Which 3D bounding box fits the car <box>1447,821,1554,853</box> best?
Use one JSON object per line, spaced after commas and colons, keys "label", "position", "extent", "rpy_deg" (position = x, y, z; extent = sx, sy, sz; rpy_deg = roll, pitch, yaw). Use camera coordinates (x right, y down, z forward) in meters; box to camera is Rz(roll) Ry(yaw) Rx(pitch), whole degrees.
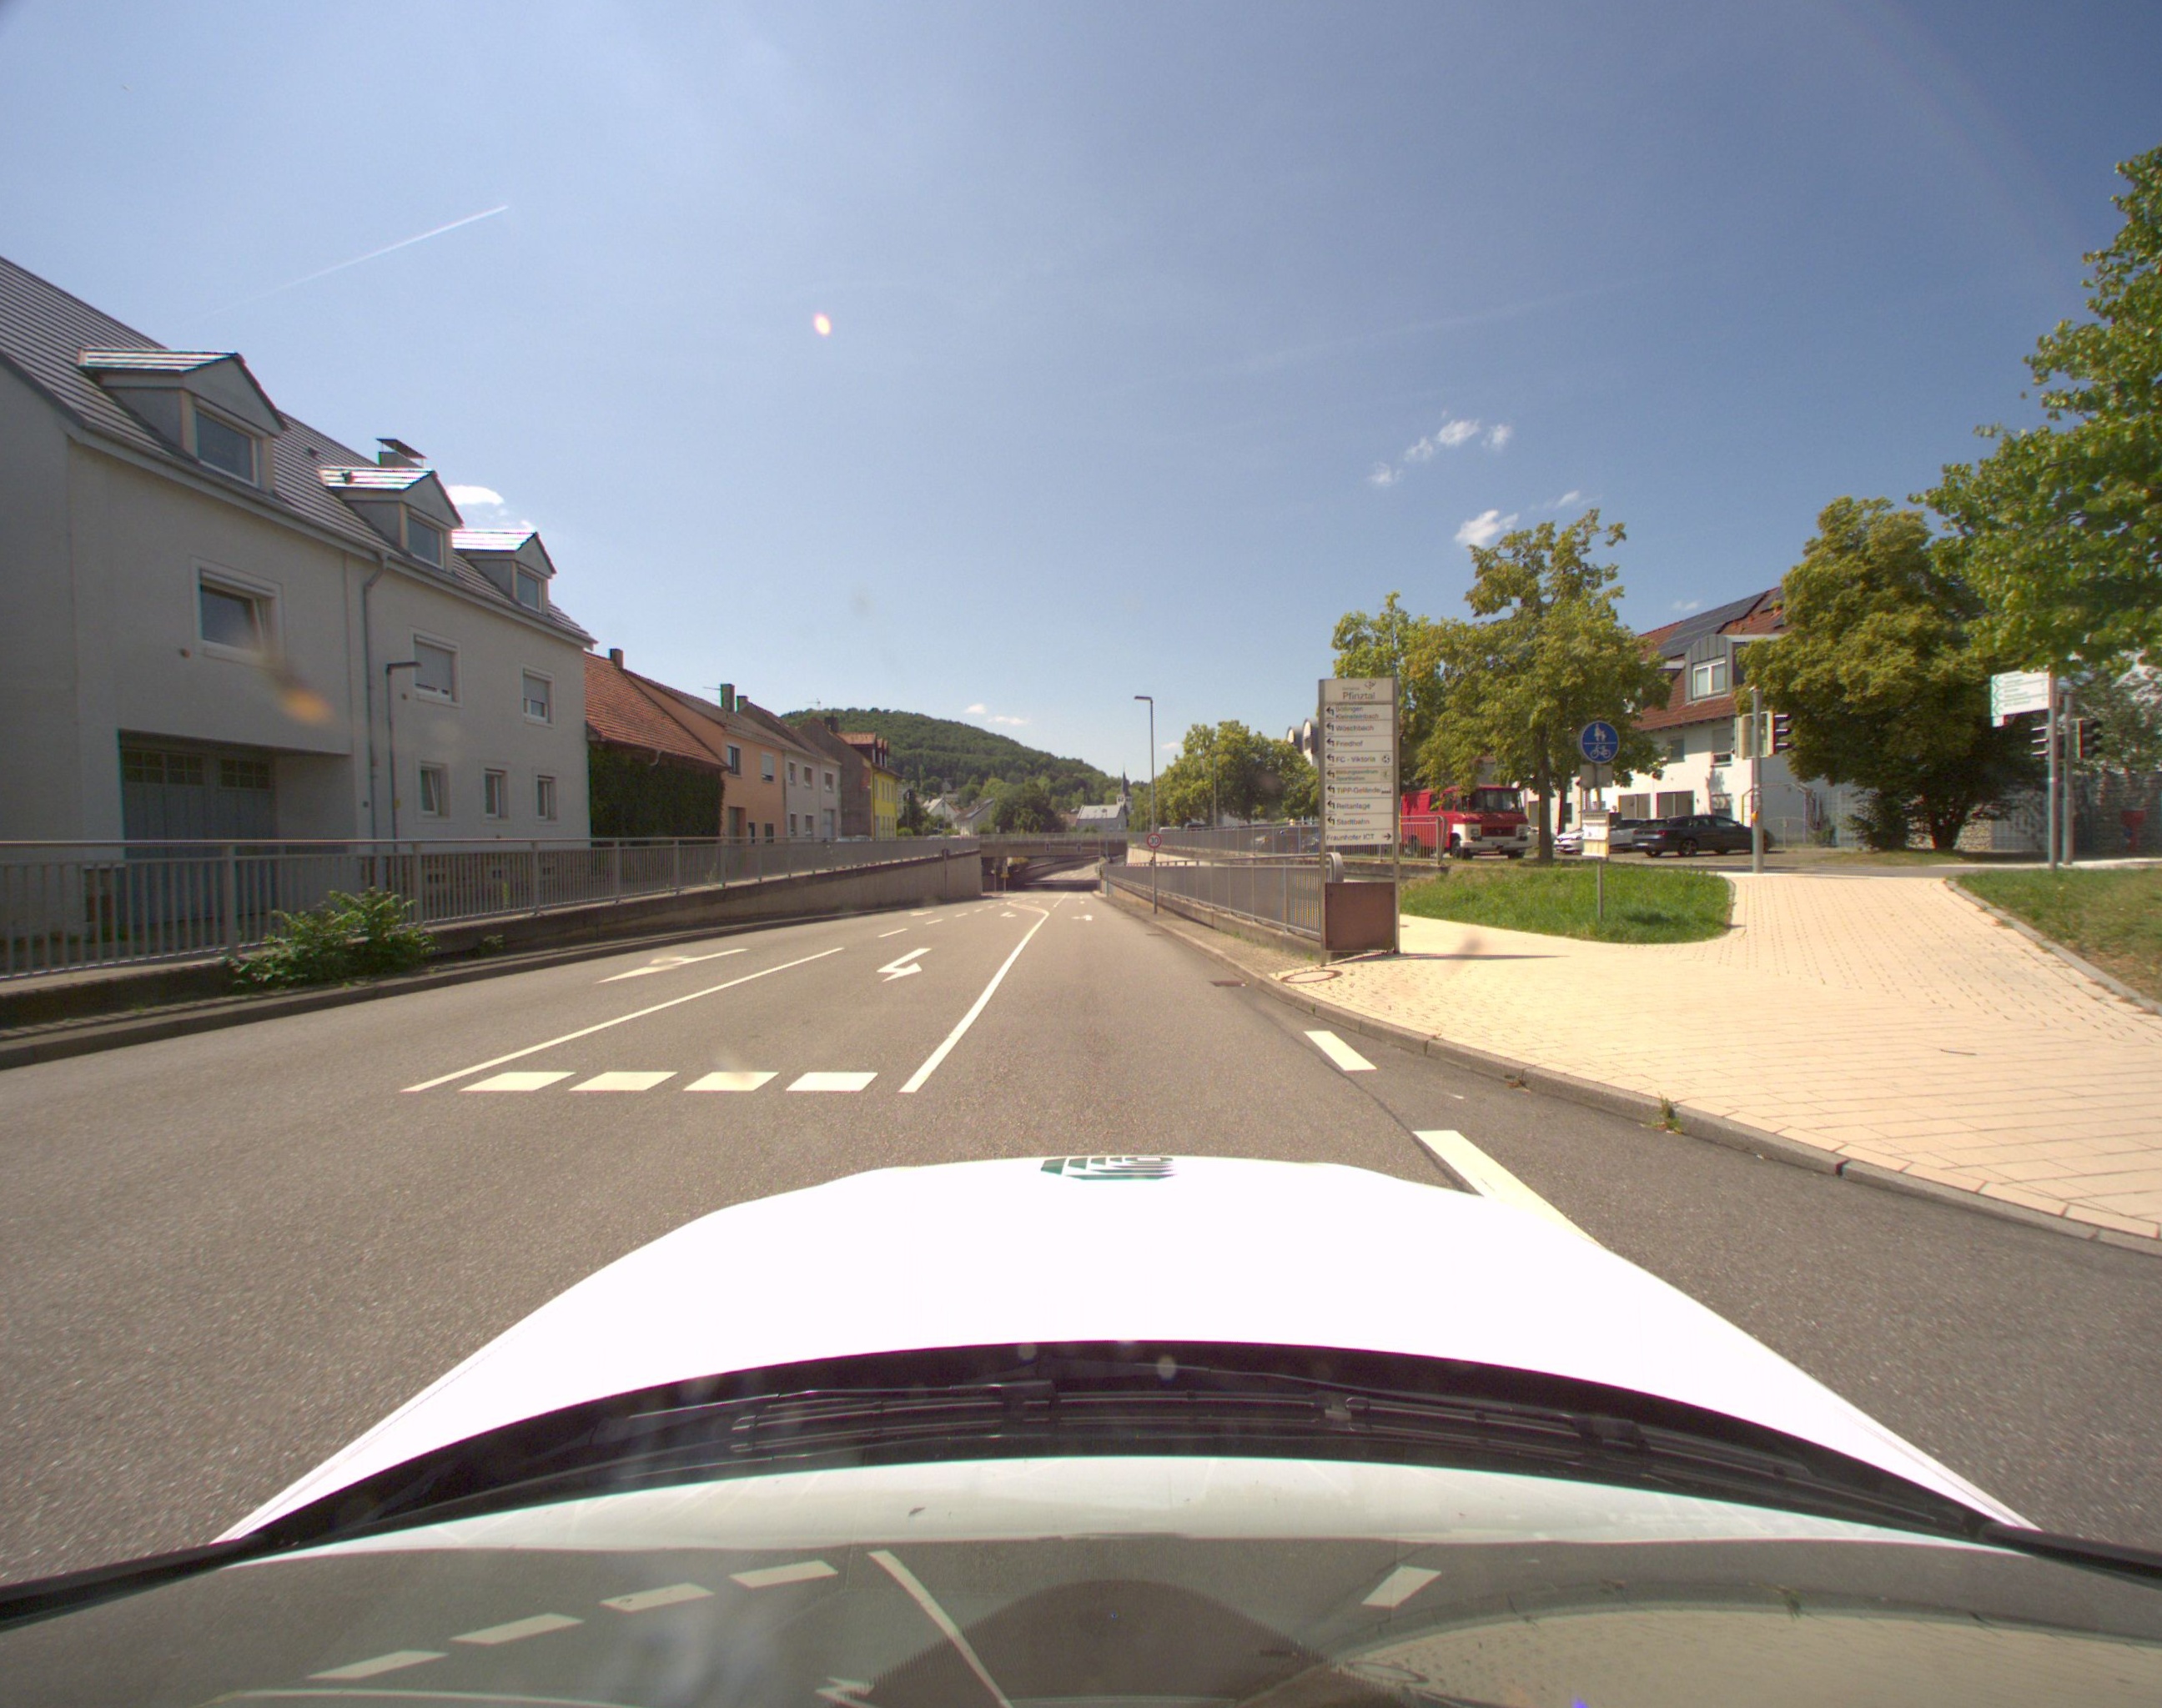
{"label": "car", "position": [21.476, -0.852, 41.811], "extent": [4.470, 1.479, 2.000], "rpy_deg": [-2, 1, -1]}

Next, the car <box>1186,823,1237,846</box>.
{"label": "car", "position": [10.682, -1.581, 66.858], "extent": [3.971, 1.770, 1.770], "rpy_deg": [0, -2, 2]}

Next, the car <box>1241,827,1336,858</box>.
{"label": "car", "position": [9.511, -0.528, 37.547], "extent": [3.972, 1.428, 1.725], "rpy_deg": [0, 0, 1]}

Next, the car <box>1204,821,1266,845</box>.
{"label": "car", "position": [10.374, -1.411, 55.064], "extent": [3.971, 1.486, 1.770], "rpy_deg": [0, -2, 2]}

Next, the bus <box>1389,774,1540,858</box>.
{"label": "bus", "position": [12.173, -1.175, 26.356], "extent": [2.183, 2.366, 5.361], "rpy_deg": [-2, 1, -2]}

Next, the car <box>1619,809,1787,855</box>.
{"label": "car", "position": [21.982, -0.773, 28.904], "extent": [4.470, 1.479, 2.000], "rpy_deg": [-2, 1, -1]}

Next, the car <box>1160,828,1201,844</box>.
{"label": "car", "position": [10.030, -1.821, 82.213], "extent": [3.971, 1.486, 1.770], "rpy_deg": [0, -2, 2]}

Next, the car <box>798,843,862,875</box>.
{"label": "car", "position": [-11.594, 0.210, 37.919], "extent": [1.781, 1.405, 4.389], "rpy_deg": [0, 0, -2]}

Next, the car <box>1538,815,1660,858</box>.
{"label": "car", "position": [21.697, -0.729, 34.236], "extent": [3.976, 1.630, 1.861], "rpy_deg": [1, -3, -2]}

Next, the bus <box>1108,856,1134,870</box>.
{"label": "bus", "position": [9.367, 2.040, 188.990], "extent": [2.560, 3.173, 12.436], "rpy_deg": [0, 0, 19]}

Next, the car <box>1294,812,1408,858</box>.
{"label": "car", "position": [10.840, -0.733, 32.834], "extent": [3.987, 1.630, 1.856], "rpy_deg": [1, -3, -10]}
